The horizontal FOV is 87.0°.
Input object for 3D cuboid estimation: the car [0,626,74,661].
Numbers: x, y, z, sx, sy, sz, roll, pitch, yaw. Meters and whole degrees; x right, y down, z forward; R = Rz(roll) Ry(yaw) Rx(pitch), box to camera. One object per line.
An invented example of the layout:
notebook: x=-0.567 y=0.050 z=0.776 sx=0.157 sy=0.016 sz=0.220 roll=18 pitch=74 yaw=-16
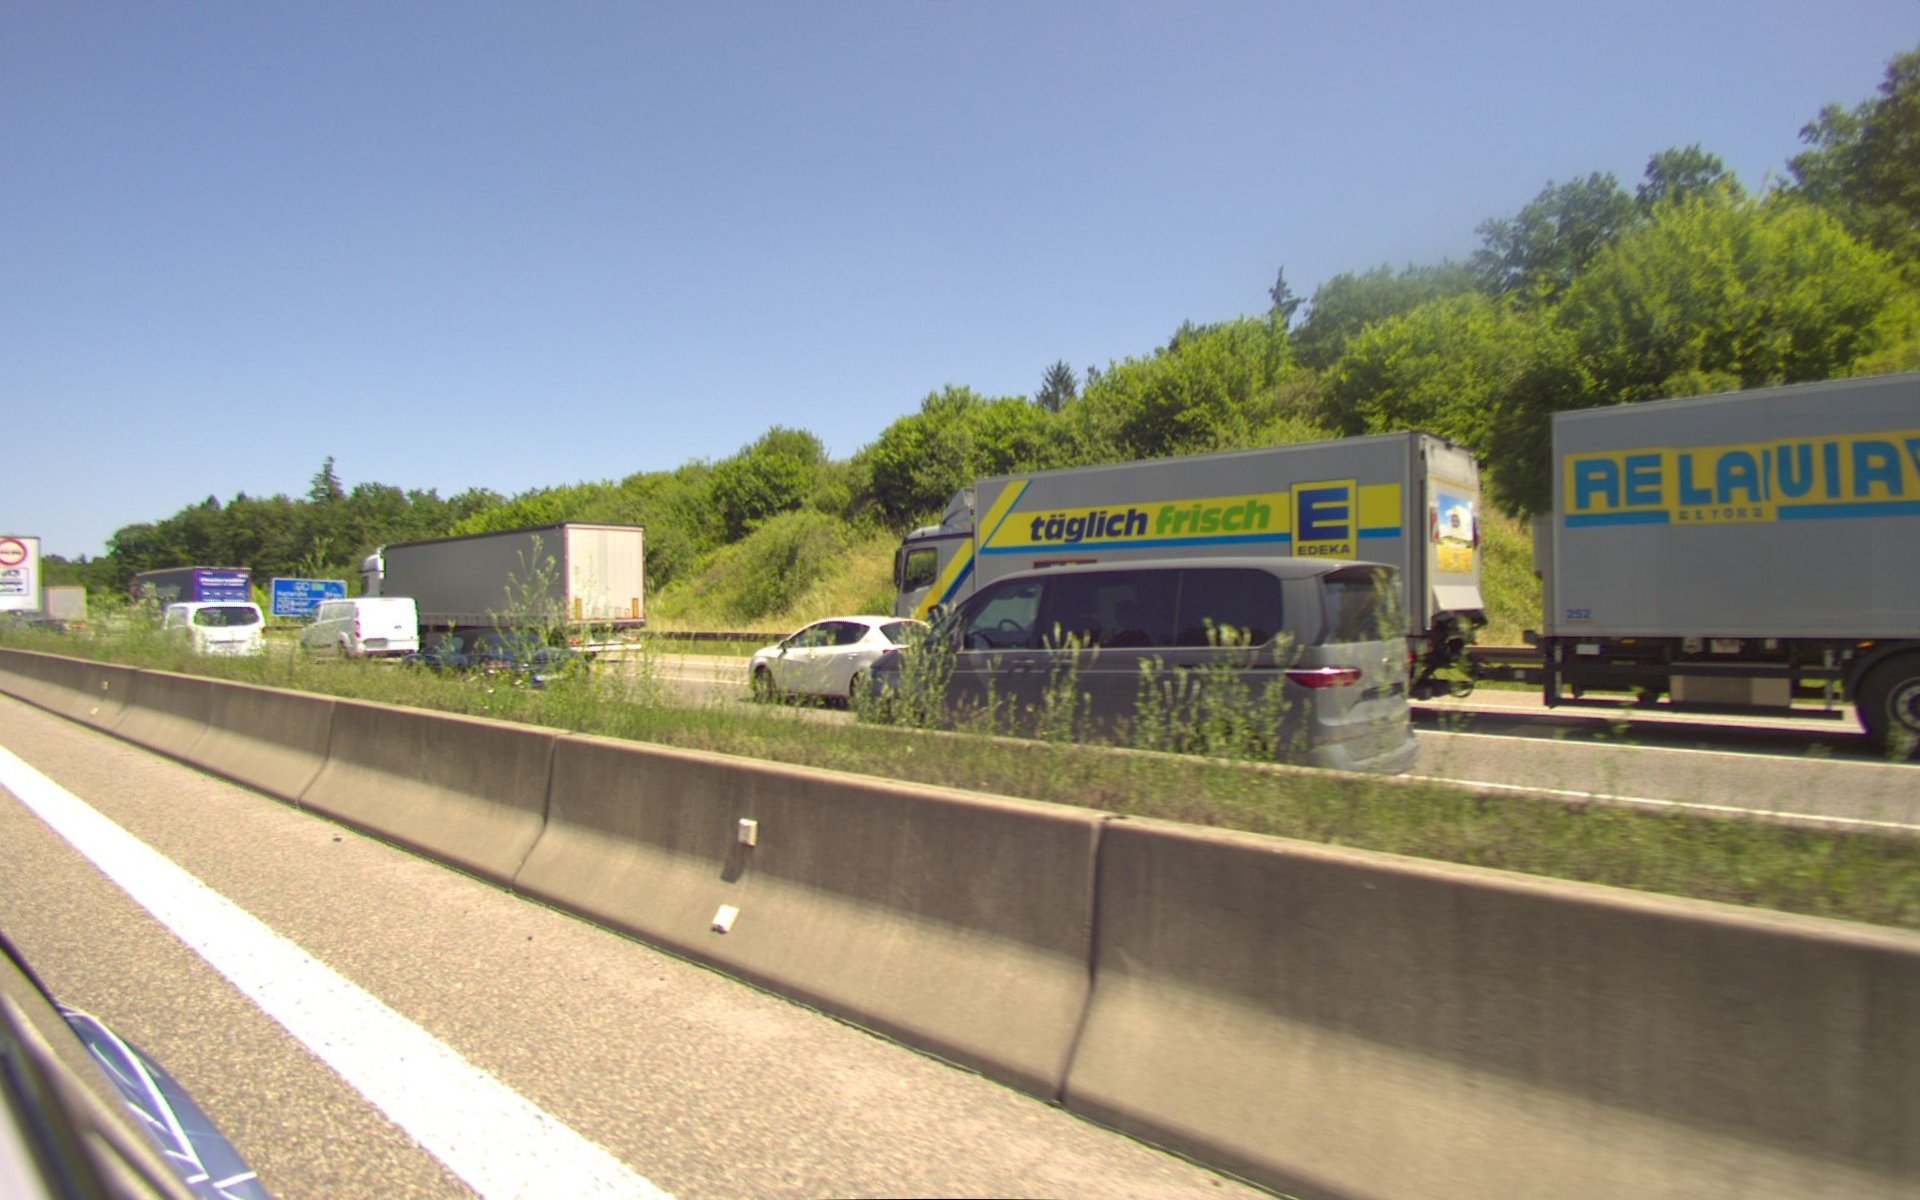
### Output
car: x=-40.474 y=1.868 z=44.363 sx=3.996 sy=1.387 sz=1.872 roll=-1 pitch=0 yaw=40

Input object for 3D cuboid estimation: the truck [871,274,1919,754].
truck: x=6.789 y=-0.782 z=13.891 sx=19.446 sy=4.490 sz=3.657 roll=-1 pitch=0 yaw=42

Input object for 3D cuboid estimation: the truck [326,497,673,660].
truck: x=-17.147 y=-0.545 z=35.765 sx=19.446 sy=4.490 sz=3.657 roll=-1 pitch=0 yaw=42

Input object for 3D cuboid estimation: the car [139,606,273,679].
car: x=-21.217 y=1.121 z=28.409 sx=5.017 sy=1.858 sz=1.961 roll=-1 pitch=0 yaw=40

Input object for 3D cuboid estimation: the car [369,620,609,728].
car: x=-7.889 y=1.102 z=16.746 sx=4.656 sy=1.491 sz=1.808 roll=-1 pitch=0 yaw=40

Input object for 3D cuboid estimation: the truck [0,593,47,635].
truck: x=-131.133 y=1.931 z=141.134 sx=19.446 sy=5.543 sz=3.657 roll=-1 pitch=0 yaw=42

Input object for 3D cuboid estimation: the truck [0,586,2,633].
truck: x=-121.137 y=1.237 z=124.169 sx=19.446 sy=5.543 sz=3.657 roll=-1 pitch=0 yaw=42

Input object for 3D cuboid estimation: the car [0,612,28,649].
car: x=-54.541 y=1.716 z=57.452 sx=3.998 sy=2.029 sz=1.973 roll=-1 pitch=-1 yaw=41

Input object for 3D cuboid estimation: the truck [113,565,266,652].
truck: x=-46.192 y=0.495 z=60.145 sx=19.446 sy=4.490 sz=3.657 roll=-1 pitch=0 yaw=42

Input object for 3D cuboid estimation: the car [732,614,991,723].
car: x=-1.653 y=0.986 z=16.176 sx=4.032 sy=1.481 sz=1.814 roll=-1 pitch=0 yaw=40

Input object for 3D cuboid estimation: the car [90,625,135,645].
car: x=-62.355 y=2.540 z=74.450 sx=3.996 sy=1.387 sz=1.872 roll=-1 pitch=0 yaw=40

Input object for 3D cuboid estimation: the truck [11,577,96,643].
truck: x=-83.216 y=0.861 z=92.690 sx=19.446 sy=5.543 sz=3.657 roll=-1 pitch=0 yaw=42

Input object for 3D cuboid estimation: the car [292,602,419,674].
car: x=-18.509 y=1.090 z=30.889 sx=4.754 sy=2.039 sz=1.872 roll=-1 pitch=0 yaw=40

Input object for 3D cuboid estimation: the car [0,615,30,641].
car: x=-77.267 y=2.276 z=82.287 sx=3.998 sy=2.029 sz=1.973 roll=-1 pitch=-1 yaw=41

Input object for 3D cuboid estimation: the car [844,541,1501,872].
car: x=1.430 y=0.634 z=8.216 sx=4.968 sy=1.930 sz=1.808 roll=-1 pitch=0 yaw=40
